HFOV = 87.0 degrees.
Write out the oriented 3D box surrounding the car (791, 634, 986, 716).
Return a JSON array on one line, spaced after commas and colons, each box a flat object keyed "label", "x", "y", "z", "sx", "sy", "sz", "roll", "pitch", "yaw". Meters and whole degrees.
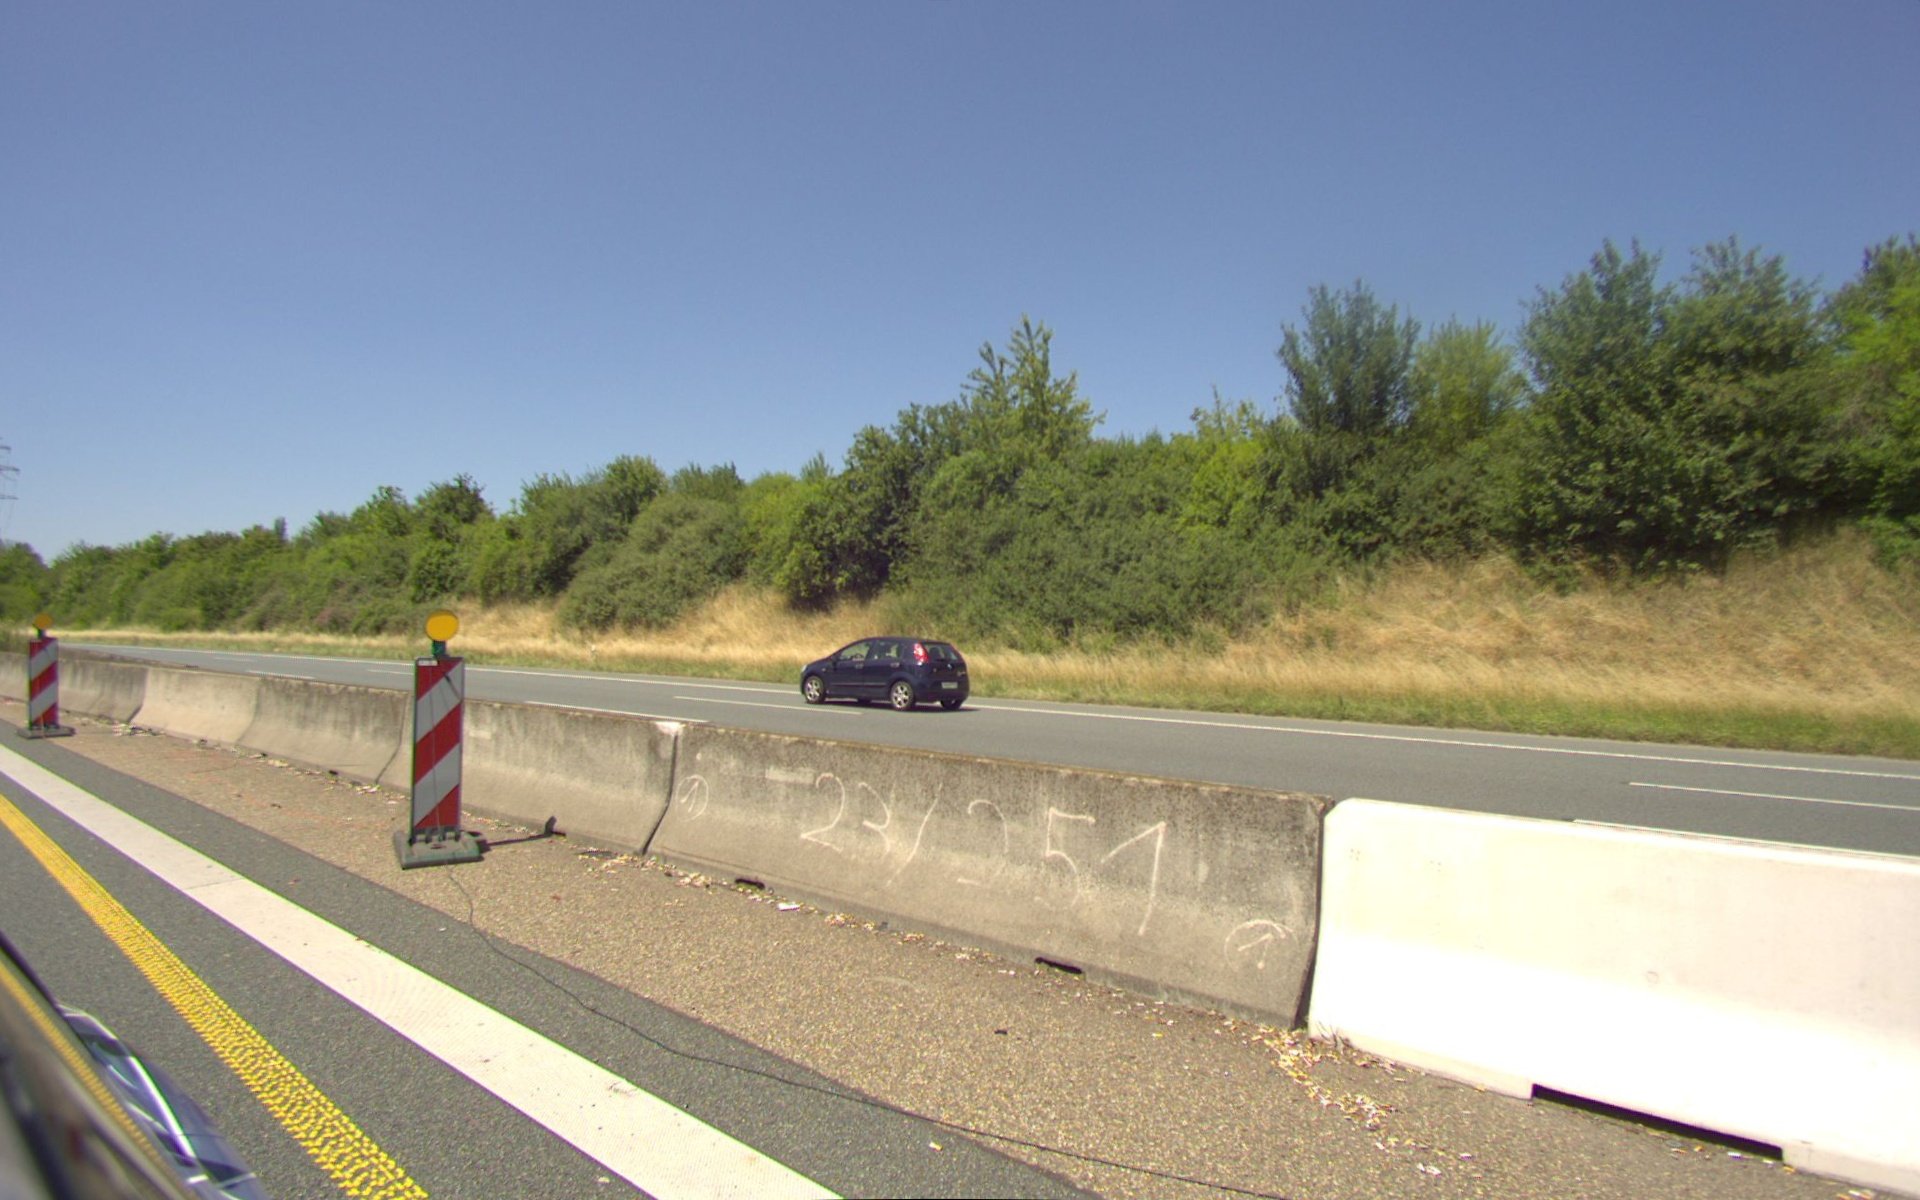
[{"label": "car", "x": -1.505, "y": 1.468, "z": 20.614, "sx": 3.845, "sy": 1.475, "sz": 1.691, "roll": -1, "pitch": -3, "yaw": 39}]
